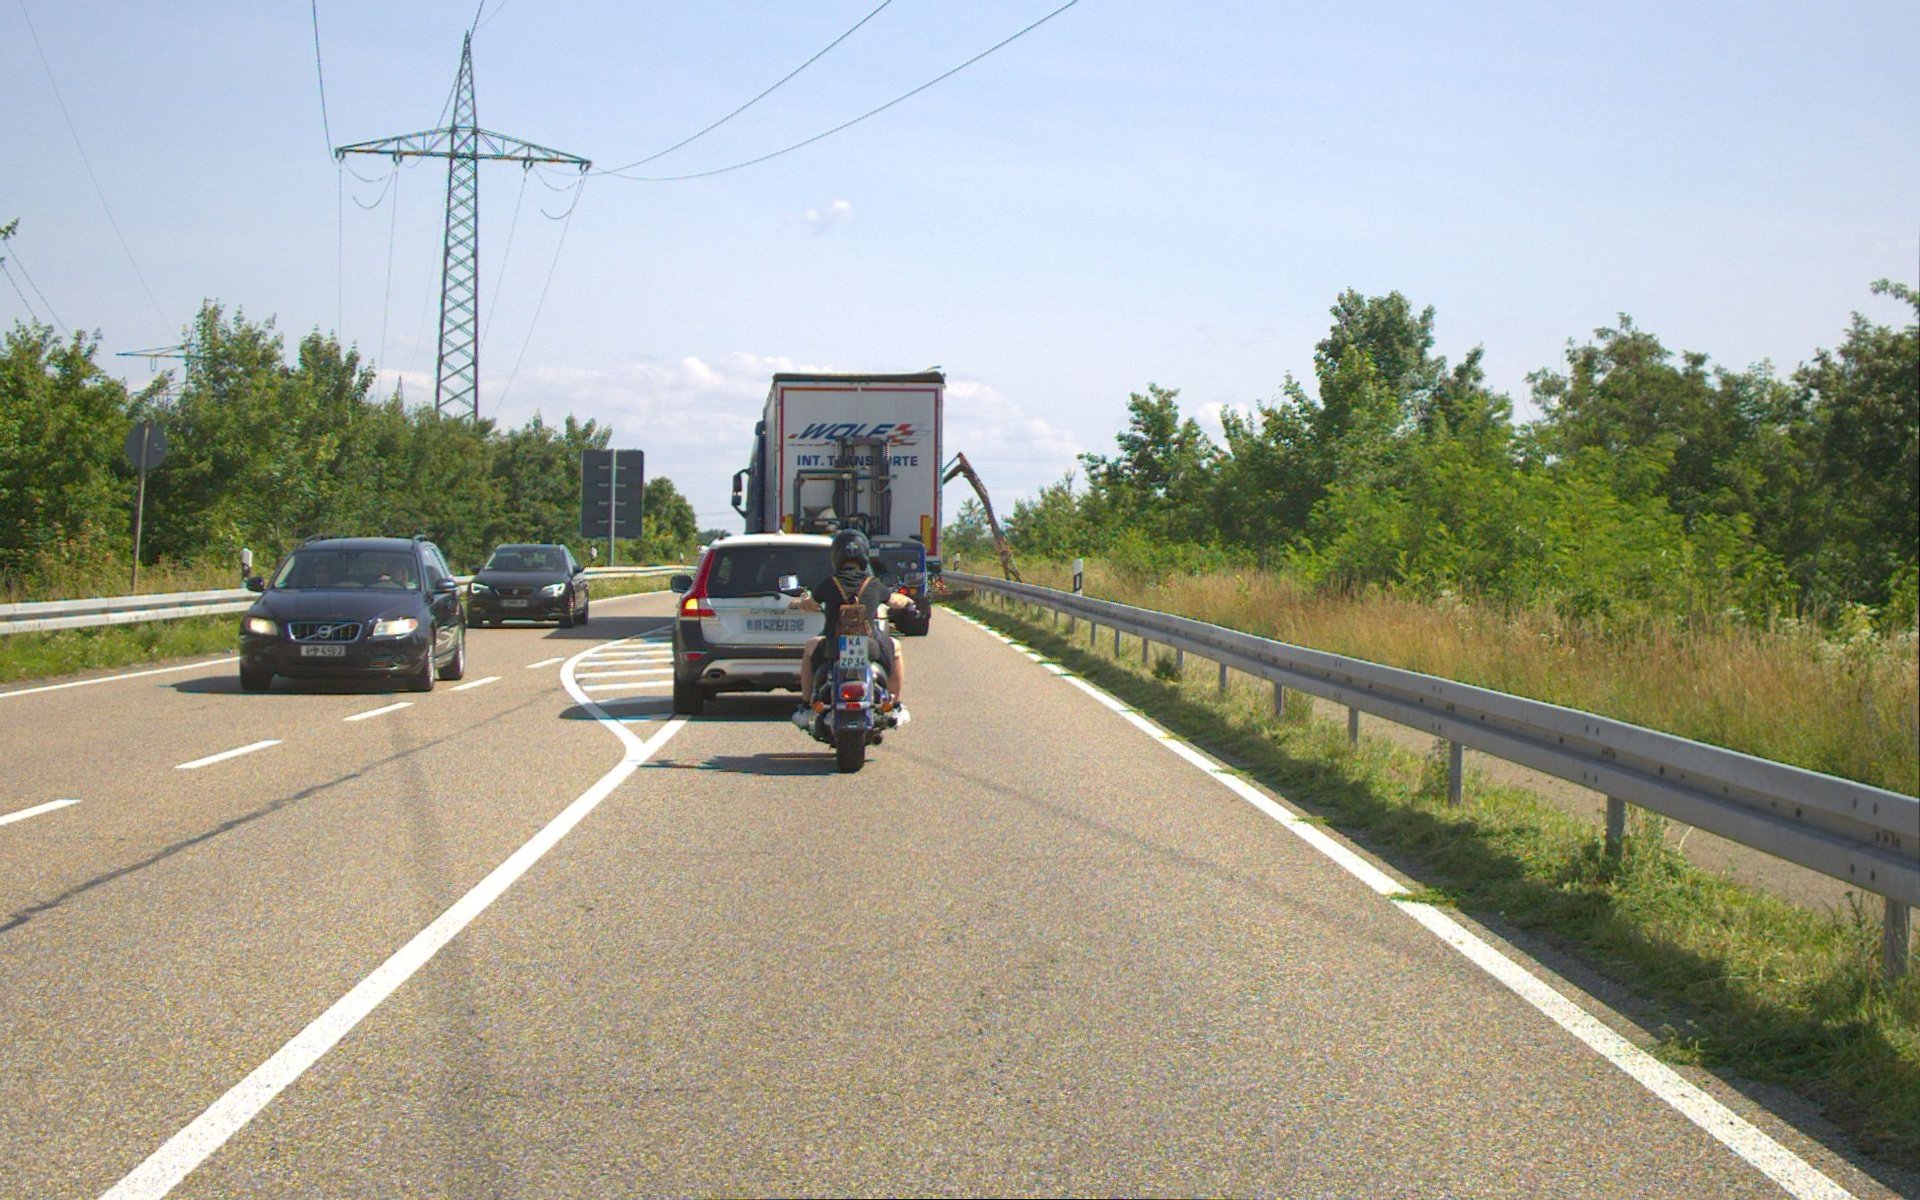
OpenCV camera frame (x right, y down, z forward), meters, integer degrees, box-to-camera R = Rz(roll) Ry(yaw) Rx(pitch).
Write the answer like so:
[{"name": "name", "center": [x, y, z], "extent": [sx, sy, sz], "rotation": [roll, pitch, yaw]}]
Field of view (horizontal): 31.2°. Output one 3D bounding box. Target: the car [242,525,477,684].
[{"name": "car", "center": [-5.993, -0.006, 34.756], "extent": [1.727, 1.486, 4.423], "rotation": [1, 1, -2]}]

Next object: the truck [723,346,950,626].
[{"name": "truck", "center": [-2.362, -1.860, 59.094], "extent": [2.967, 4.172, 14.825], "rotation": [1, 1, -5]}]

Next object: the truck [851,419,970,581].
[{"name": "truck", "center": [-1.249, -2.363, 82.563], "extent": [2.613, 3.698, 6.778], "rotation": [1, 1, -2]}]

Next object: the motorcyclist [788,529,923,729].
[{"name": "motorcyclist", "center": [-0.696, 0.179, 22.618], "extent": [0.837, 1.276, 0.919], "rotation": [1, 1, -3]}]

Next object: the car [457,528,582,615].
[{"name": "car", "center": [-7.572, -0.519, 59.423], "extent": [1.659, 1.437, 4.215], "rotation": [1, 1, -1]}]

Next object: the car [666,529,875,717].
[{"name": "car", "center": [-1.606, 0.154, 30.070], "extent": [1.701, 1.531, 3.499], "rotation": [1, 1, -1]}]

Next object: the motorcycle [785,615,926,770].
[{"name": "motorcycle", "center": [-0.710, 0.586, 22.648], "extent": [0.858, 0.912, 2.228], "rotation": [0, 1, -3]}]
